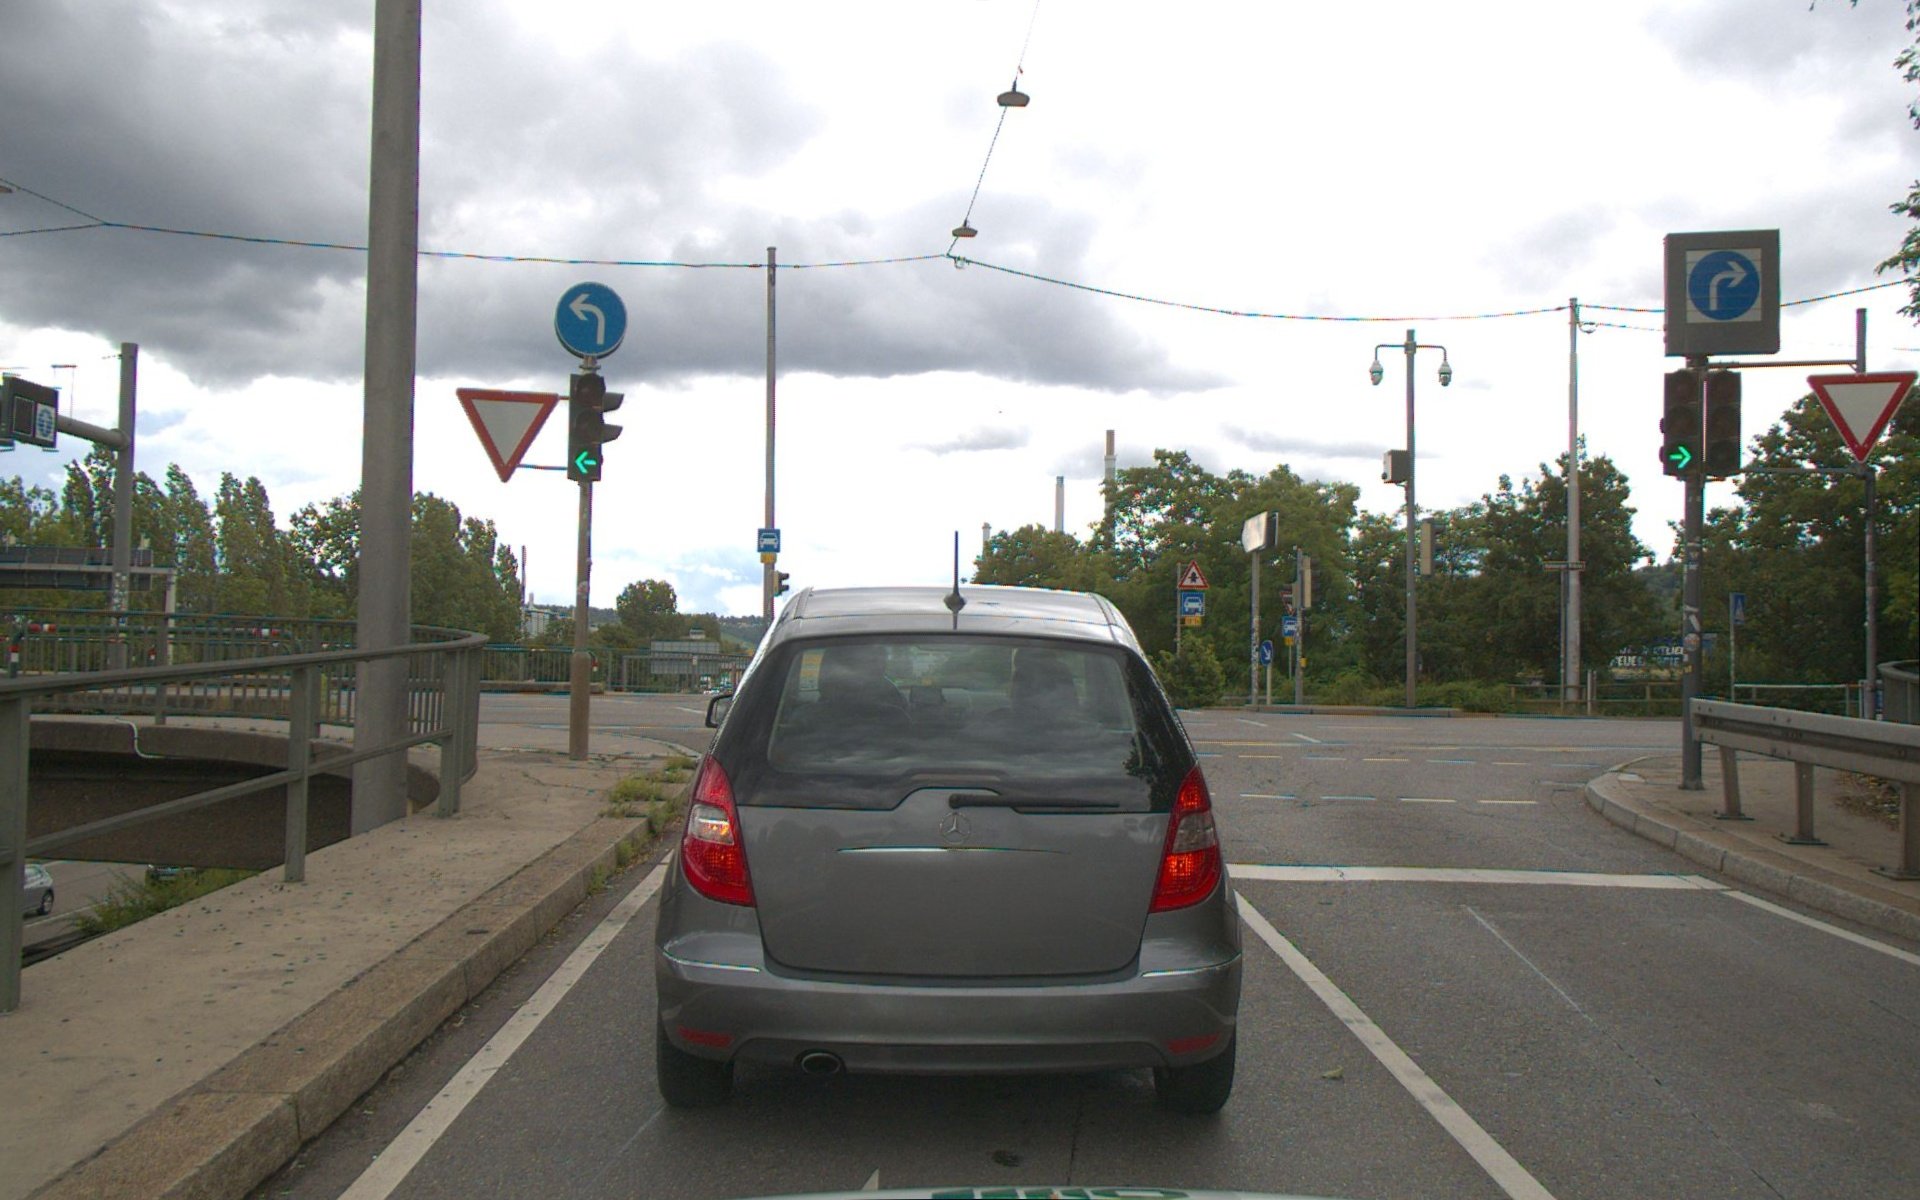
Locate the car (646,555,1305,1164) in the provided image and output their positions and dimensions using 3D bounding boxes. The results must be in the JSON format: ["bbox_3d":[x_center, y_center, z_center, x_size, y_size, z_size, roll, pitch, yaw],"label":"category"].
[{"bbox_3d":[0.025,0.689,6.100,1.704,1.570,3.540,1,0,-1],"label":"car"}]

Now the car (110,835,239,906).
[{"bbox_3d":[-24.072,8.268,50.867,1.802,1.520,4.569,-2,-2,-1],"label":"car"}]

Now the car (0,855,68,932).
[{"bbox_3d":[-26.370,8.049,45.174,1.785,1.640,4.296,-1,-3,-2],"label":"car"}]
